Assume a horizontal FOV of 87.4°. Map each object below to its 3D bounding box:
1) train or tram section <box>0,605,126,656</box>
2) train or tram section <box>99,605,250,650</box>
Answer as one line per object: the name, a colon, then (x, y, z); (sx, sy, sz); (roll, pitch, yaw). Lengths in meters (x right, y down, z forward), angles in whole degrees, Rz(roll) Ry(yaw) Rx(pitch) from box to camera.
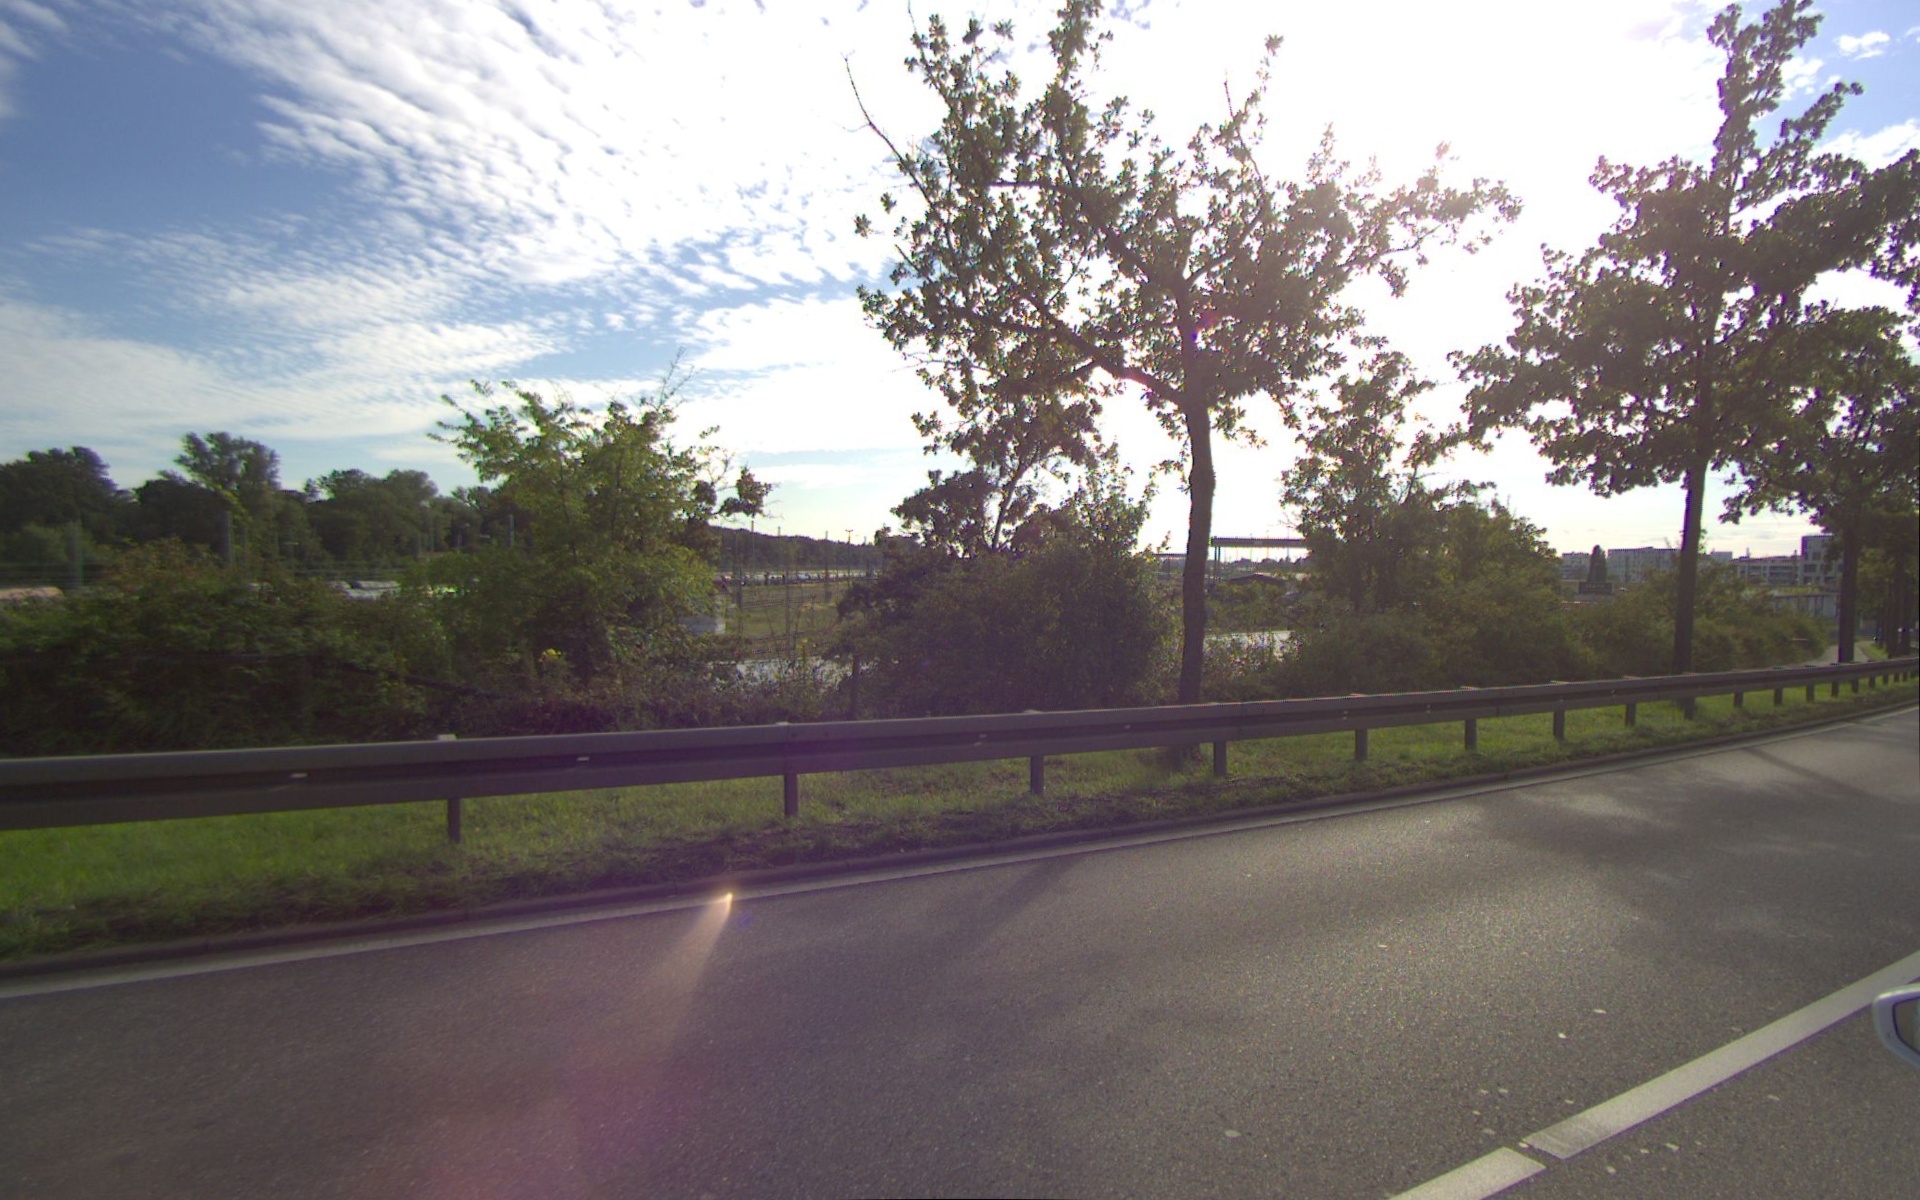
train or tram section: (-92.264, 2.926, 100.025); (3.034, 4.775, 16.757); (1, 0, 5)
train or tram section: (-90.730, 2.967, 116.732); (3.034, 4.775, 16.757); (1, 0, 5)
